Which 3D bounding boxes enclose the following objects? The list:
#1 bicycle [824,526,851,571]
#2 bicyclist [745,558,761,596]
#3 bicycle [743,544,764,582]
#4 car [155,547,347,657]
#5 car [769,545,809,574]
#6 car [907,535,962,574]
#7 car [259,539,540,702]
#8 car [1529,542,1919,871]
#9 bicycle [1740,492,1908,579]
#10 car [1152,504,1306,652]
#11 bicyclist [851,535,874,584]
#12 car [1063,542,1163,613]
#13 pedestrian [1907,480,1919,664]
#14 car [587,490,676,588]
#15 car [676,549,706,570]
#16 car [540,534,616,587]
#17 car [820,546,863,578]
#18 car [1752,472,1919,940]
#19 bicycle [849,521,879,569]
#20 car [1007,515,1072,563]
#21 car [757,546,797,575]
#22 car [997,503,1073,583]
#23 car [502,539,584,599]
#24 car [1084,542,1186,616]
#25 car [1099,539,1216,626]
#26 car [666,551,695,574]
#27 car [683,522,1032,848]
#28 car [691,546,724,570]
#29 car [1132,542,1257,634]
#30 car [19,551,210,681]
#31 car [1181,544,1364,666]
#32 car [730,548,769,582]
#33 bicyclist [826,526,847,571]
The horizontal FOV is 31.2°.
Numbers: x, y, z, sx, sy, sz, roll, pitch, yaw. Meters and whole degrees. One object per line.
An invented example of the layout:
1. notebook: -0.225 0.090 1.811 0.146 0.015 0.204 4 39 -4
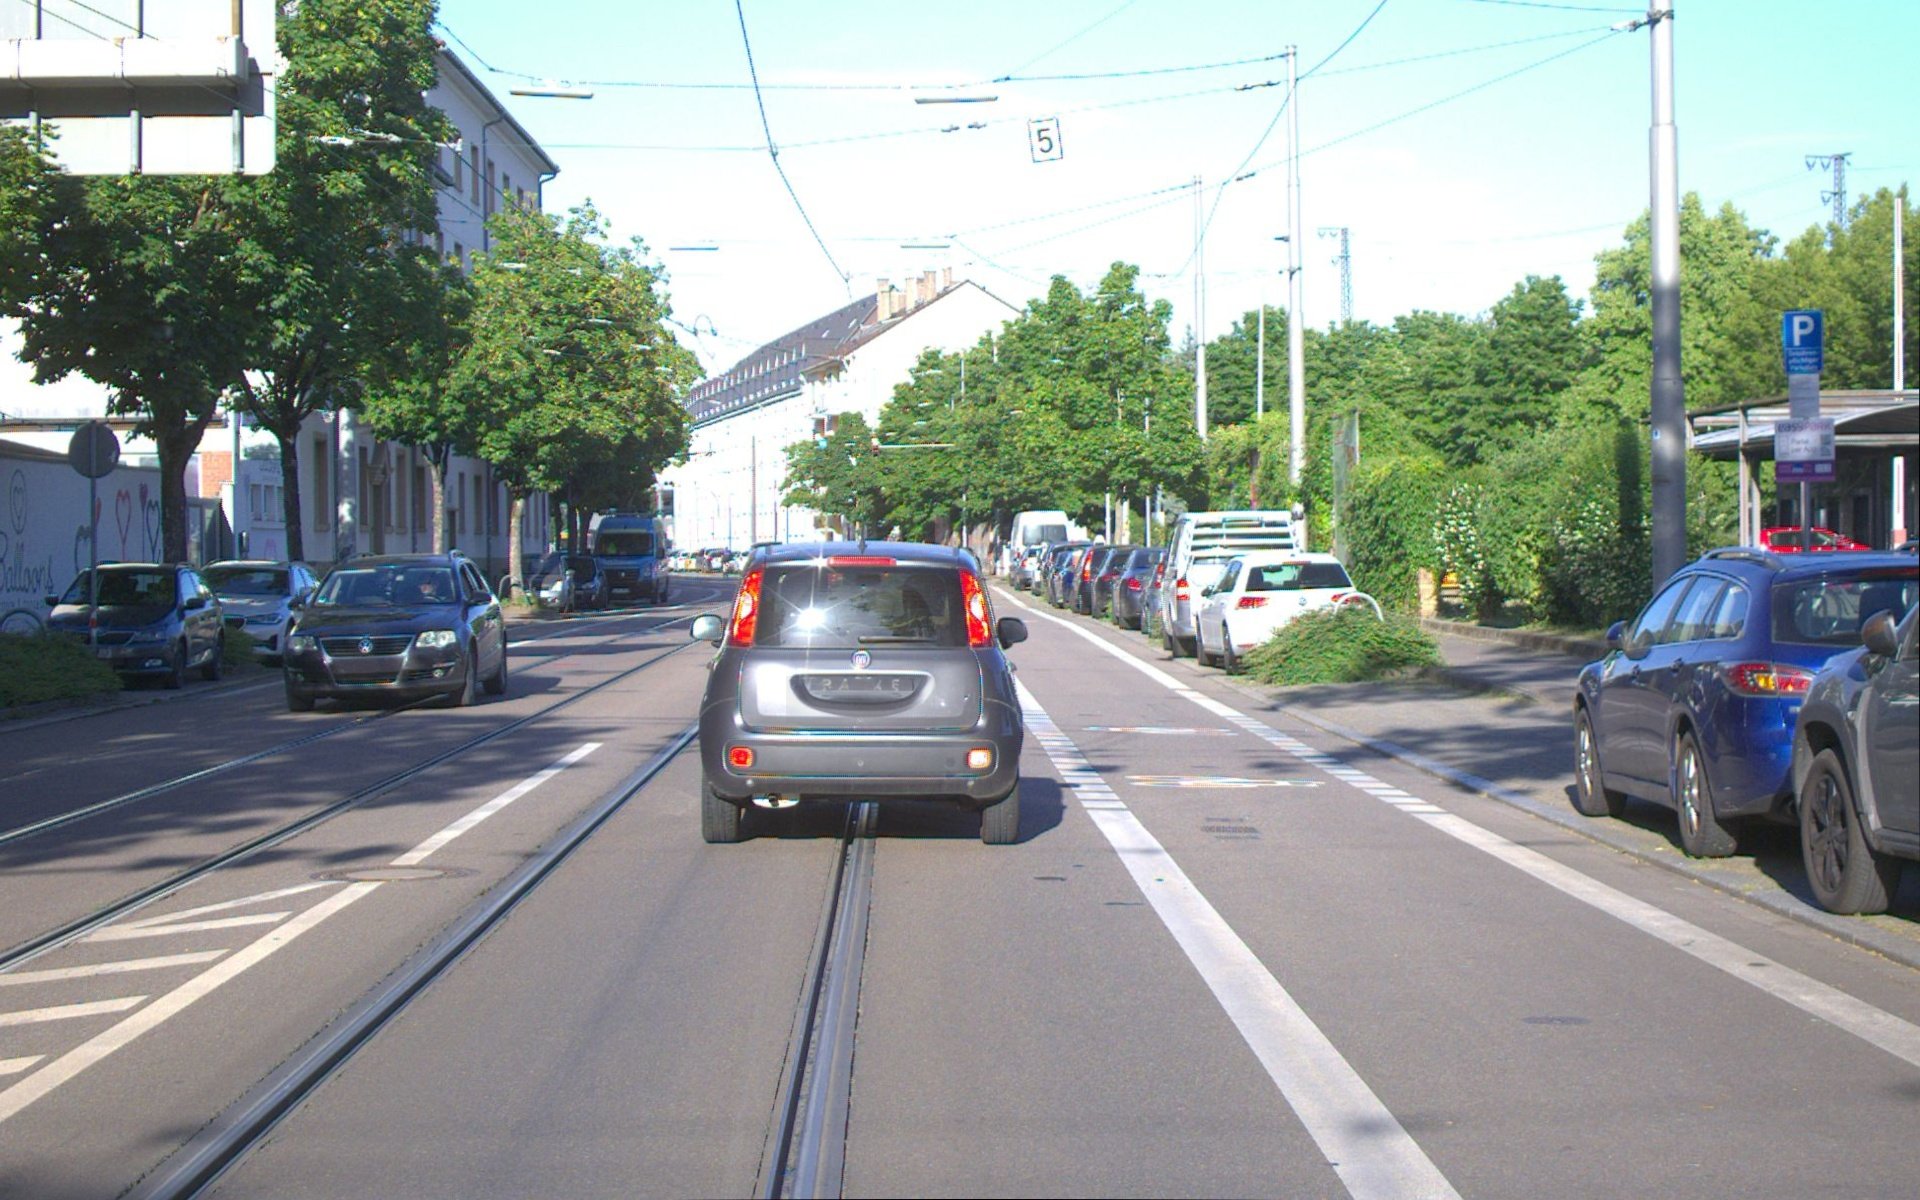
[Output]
1. bicycle: -4.802 -1.995 134.224 0.675 1.741 2.158 1 1 -12
2. bicyclist: -11.169 -1.240 185.754 0.715 2.007 0.832 1 0 -12
3. bicycle: -11.154 -2.010 185.773 0.741 2.007 2.812 1 1 -12
4. car: -10.141 0.002 49.460 1.864 1.485 4.662 1 1 -1
5. car: -9.430 -2.217 189.373 1.655 1.566 3.500 1 1 -11
6. car: -1.049 -1.862 139.903 1.688 1.525 4.001 -2 1 -8
7. car: -5.420 0.166 33.830 1.766 1.458 4.747 -1 1 3
8. car: 4.236 0.453 17.855 1.702 1.476 4.659 -1 1 -1
9. bicycle: 10.272 -0.763 40.906 1.897 1.004 0.576 1 0 12
10. car: 3.764 -0.325 48.924 1.854 1.984 5.242 -1 1 1
11. bicyclist: -3.541 -1.485 125.370 0.699 1.753 0.758 1 0 -12
12. car: 3.384 -0.511 76.586 1.824 1.487 3.815 -2 1 -3
13. pedestrian: 6.928 0.050 23.014 0.671 1.783 1.304 -4 1 -1
14. car: -9.797 -1.806 102.793 2.017 2.816 6.032 1 1 0
15. car: -18.080 -2.706 231.076 1.582 1.400 3.377 1 1 -12
16. car: -10.554 -1.102 95.243 1.651 1.420 4.190 1 1 0
17. car: -5.930 -1.908 171.339 1.635 1.503 3.398 -3 1 -10
18. car: 4.377 0.396 12.520 1.741 1.706 4.278 1 1 -3
19. bicycle: -3.505 -2.004 125.313 0.675 1.741 2.158 1 1 -12
20. car: 2.608 -2.012 113.870 1.910 1.524 4.601 -1 1 -2
21. car: -10.326 -2.228 193.796 1.655 1.566 3.877 1 1 -11
22. car: 2.610 -1.994 120.724 2.180 2.656 6.092 -2 1 -2
23. car: -10.743 -0.805 88.724 1.651 1.486 4.000 1 1 0
24. car: 3.570 -0.448 70.662 1.824 1.447 4.642 -1 1 0
25. car: 3.533 -0.327 62.172 1.824 1.479 4.601 1 1 0
26. car: -19.247 -2.586 236.699 1.582 1.593 3.377 1 1 -12
27. car: -0.527 0.378 18.614 1.650 1.536 4.235 -1 1 -1
28. car: -16.088 -2.679 219.235 1.582 1.400 3.377 -4 1 -12
29. car: 3.872 -0.214 57.367 1.873 1.467 4.075 1 1 1
30. car: -10.226 0.161 41.834 1.772 1.481 4.306 1 1 -7
31. car: 3.905 0.032 43.615 1.675 1.413 4.503 -2 1 -3
32. car: -12.359 -2.067 201.356 1.655 1.937 4.666 1 1 -11
33. bicyclist: -4.829 -2.014 134.287 0.699 1.753 0.758 1 0 -12
